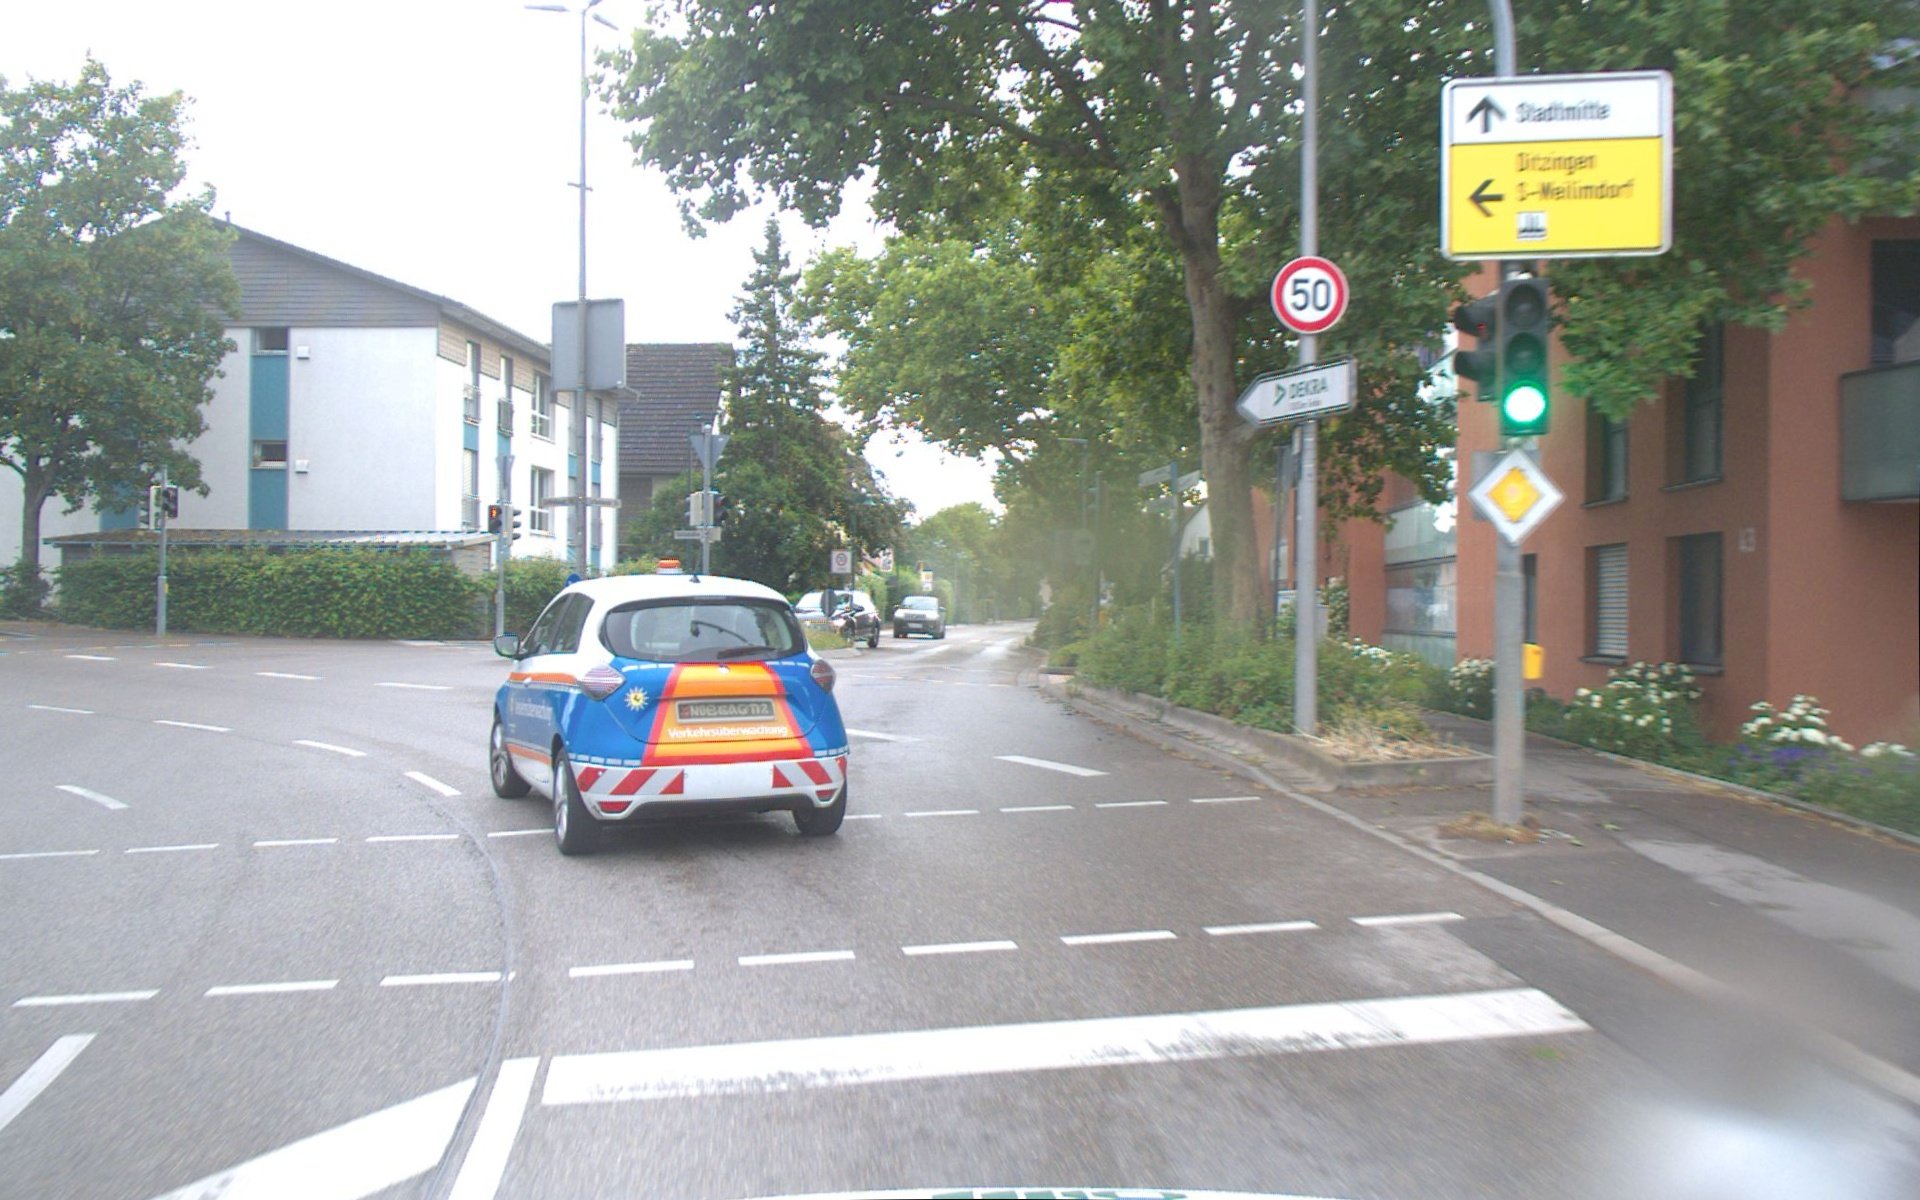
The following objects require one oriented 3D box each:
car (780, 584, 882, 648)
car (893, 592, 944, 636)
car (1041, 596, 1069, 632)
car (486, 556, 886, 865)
[{"bbox_3d":[-3.207,0.400,41.939,1.901,1.477,4.302,2,0,4],"label":"car"},{"bbox_3d":[-1.645,0.537,66.549,1.838,1.698,3.714,1,0,1],"label":"car"},{"bbox_3d":[5.738,0.850,99.896,1.609,2.052,3.717,1,1,3],"label":"car"},{"bbox_3d":[-1.969,0.549,10.804,1.722,1.608,3.972,-1,1,-23],"label":"car"}]
